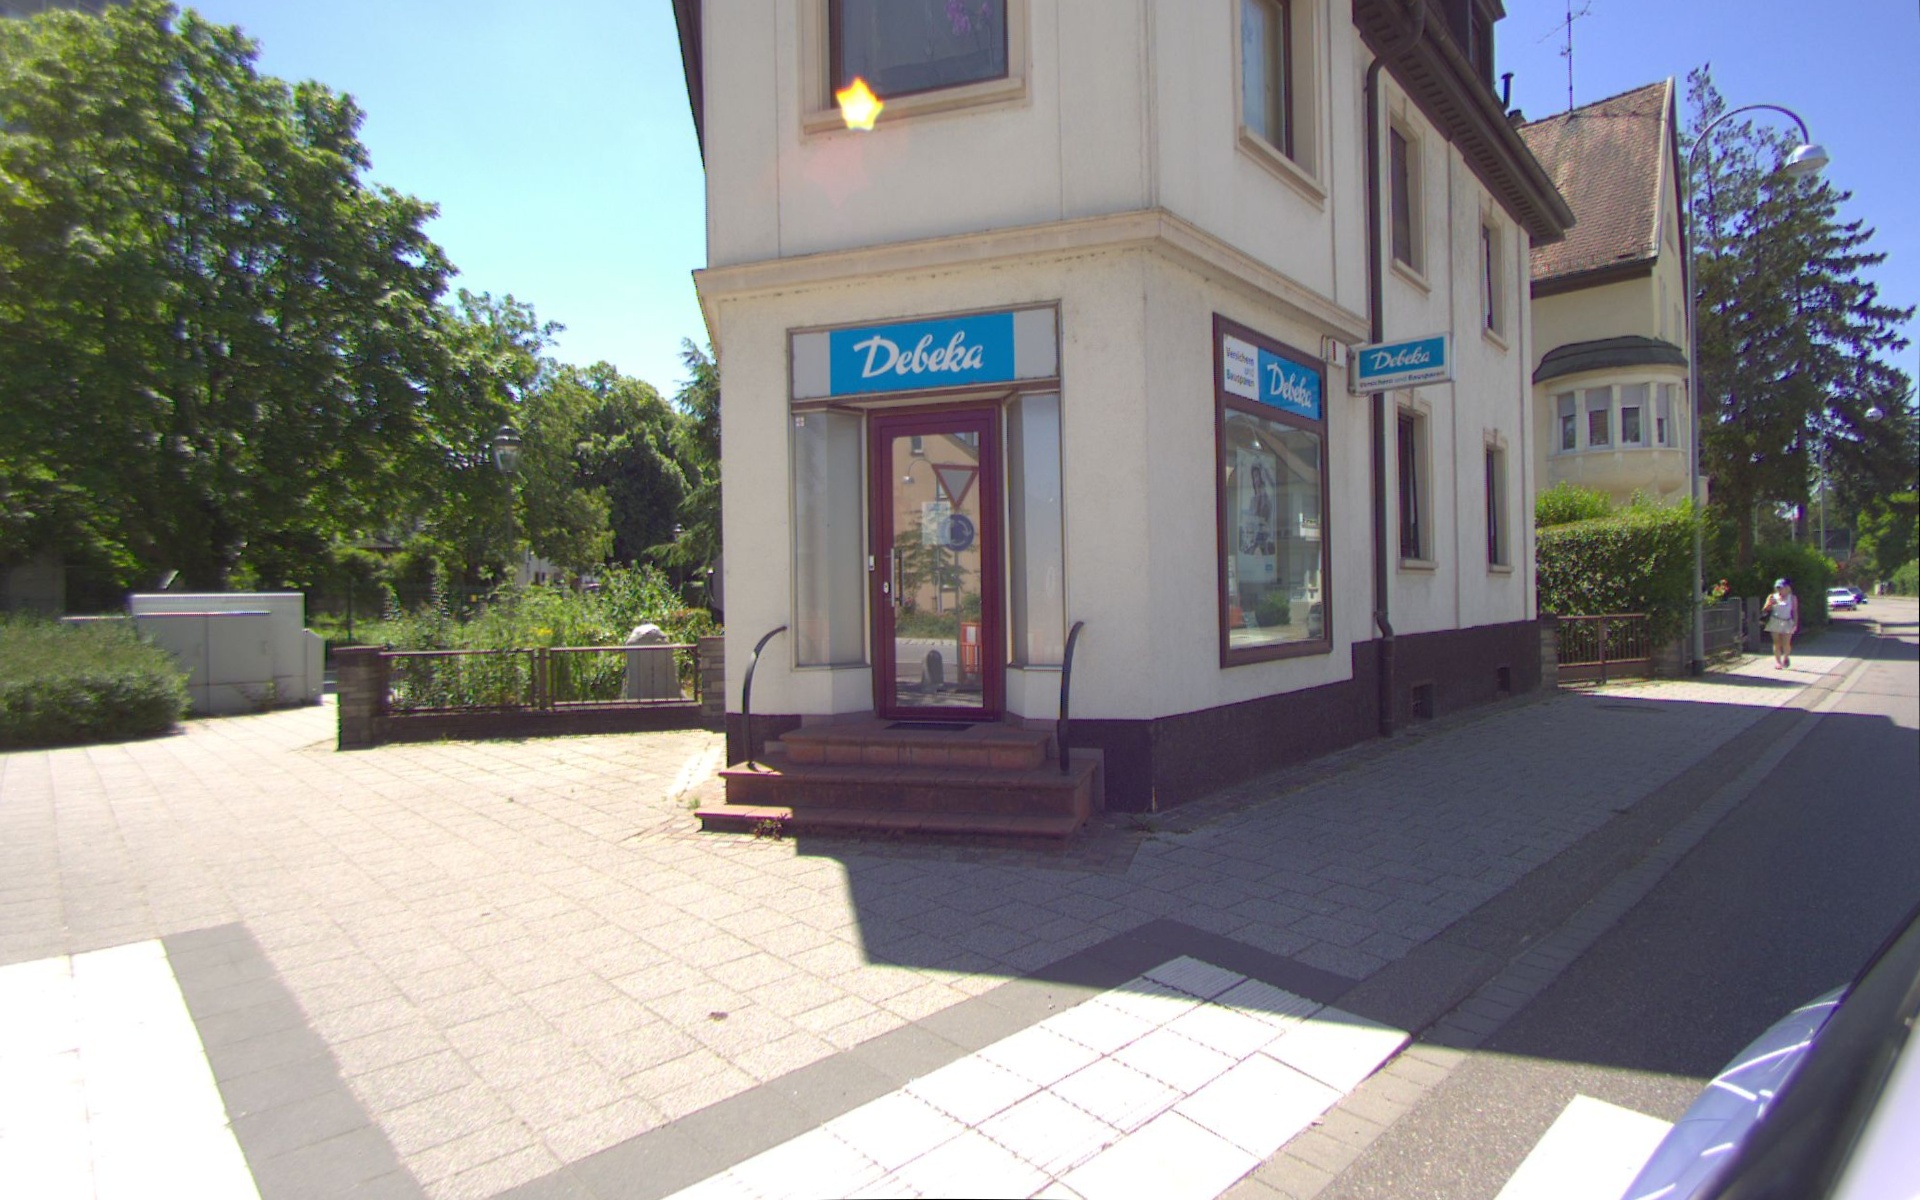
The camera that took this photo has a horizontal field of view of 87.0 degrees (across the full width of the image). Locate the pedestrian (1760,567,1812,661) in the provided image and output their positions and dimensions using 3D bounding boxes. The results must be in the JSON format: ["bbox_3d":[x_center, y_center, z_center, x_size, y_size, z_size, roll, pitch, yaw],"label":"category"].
[{"bbox_3d":[15.233,0.241,18.663,0.623,1.663,0.760,5,4,41],"label":"pedestrian"}]

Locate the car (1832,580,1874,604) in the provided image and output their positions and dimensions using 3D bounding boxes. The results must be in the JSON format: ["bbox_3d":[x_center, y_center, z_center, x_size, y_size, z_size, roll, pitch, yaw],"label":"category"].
[{"bbox_3d":[59.183,-0.555,67.098,1.679,1.473,3.691,-3,-1,36],"label":"car"}]

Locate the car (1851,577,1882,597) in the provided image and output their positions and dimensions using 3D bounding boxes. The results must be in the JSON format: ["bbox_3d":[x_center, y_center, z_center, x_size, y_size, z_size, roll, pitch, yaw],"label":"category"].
[{"bbox_3d":[73.010,-1.049,81.497,1.683,1.473,3.681,-3,-1,43],"label":"car"}]
